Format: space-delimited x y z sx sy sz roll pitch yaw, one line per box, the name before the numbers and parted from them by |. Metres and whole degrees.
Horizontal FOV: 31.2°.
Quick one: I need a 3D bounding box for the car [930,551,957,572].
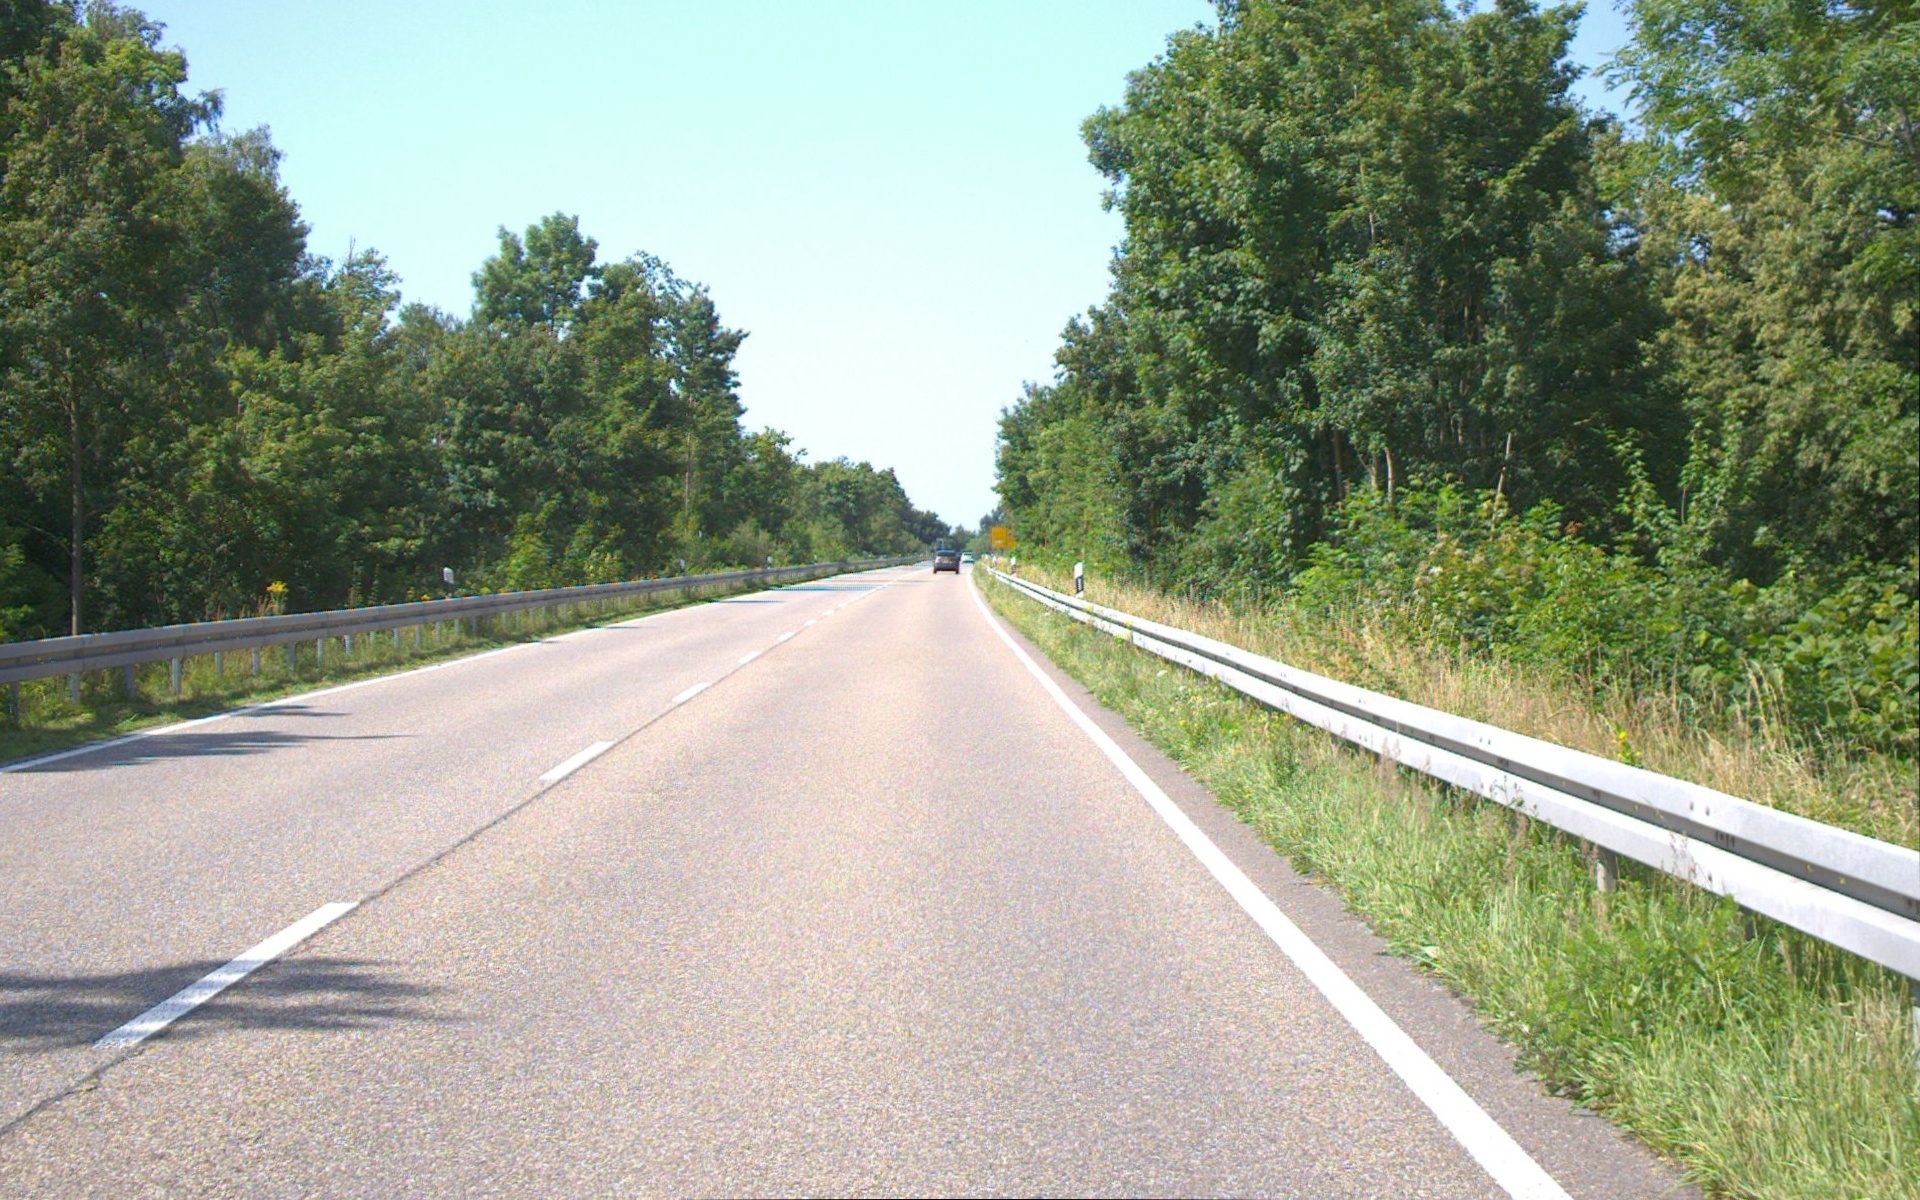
car | -1.122 -2.637 235.047 1.741 1.465 3.692 0 1 2
